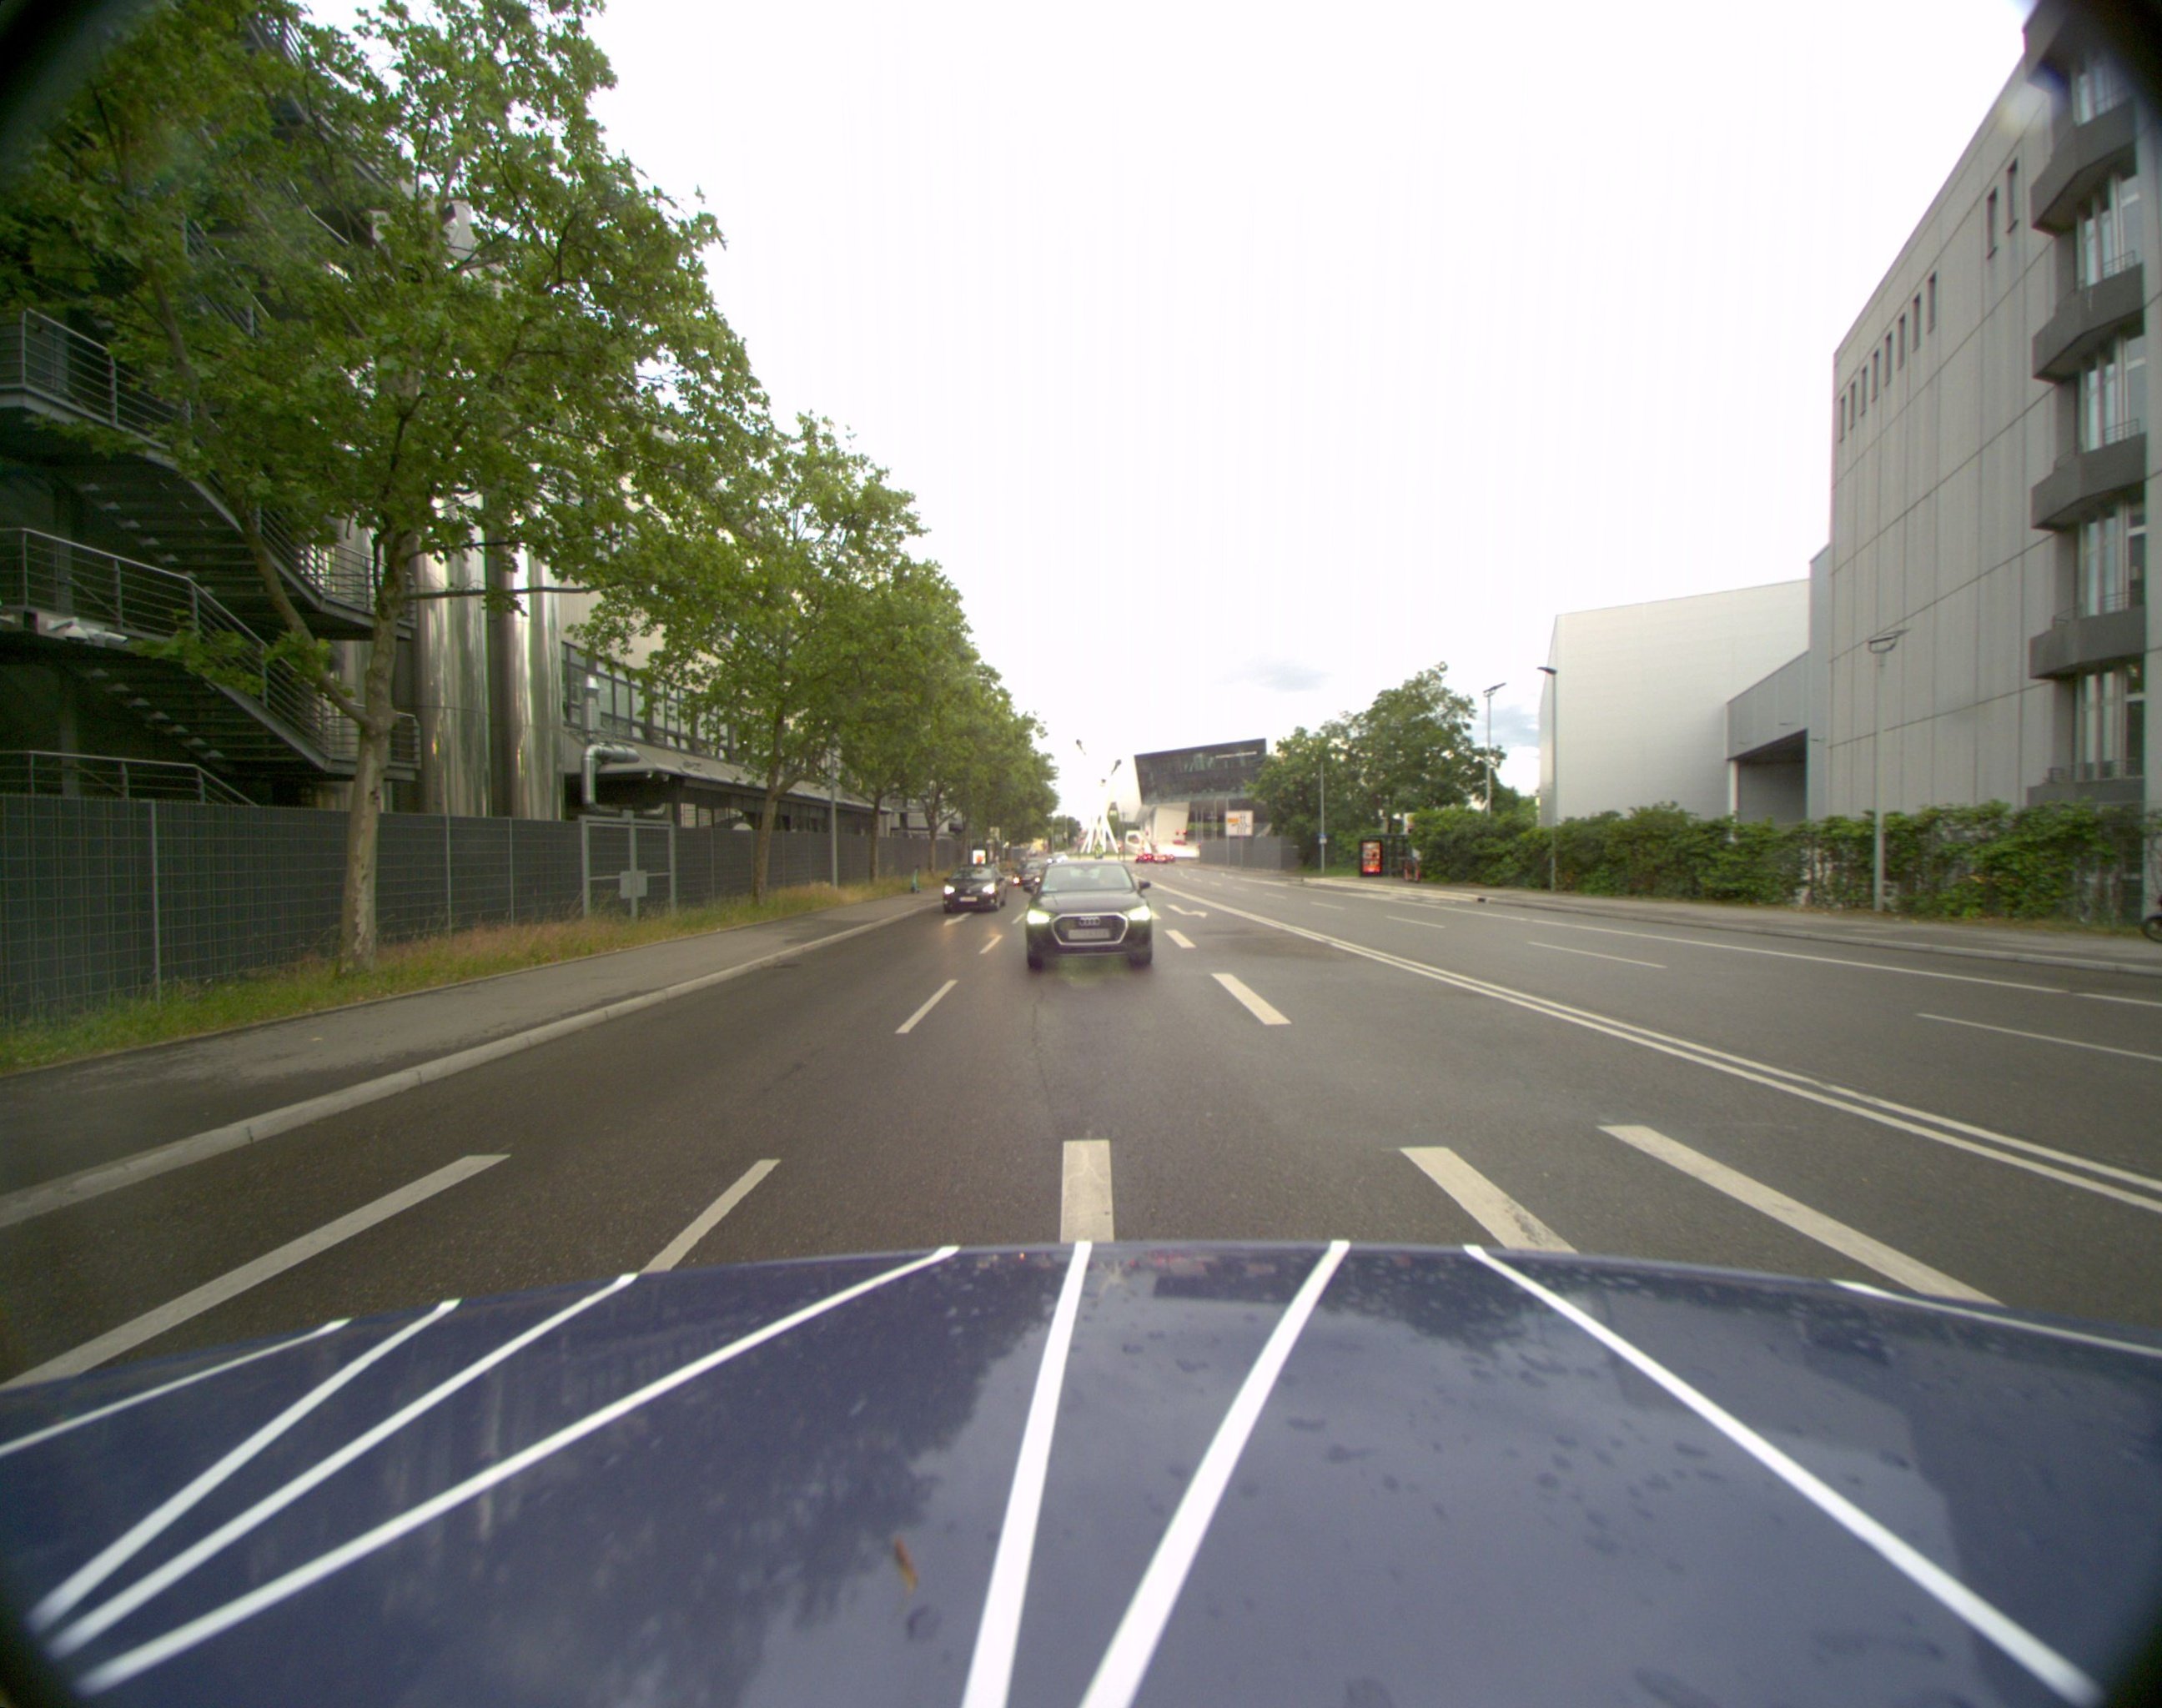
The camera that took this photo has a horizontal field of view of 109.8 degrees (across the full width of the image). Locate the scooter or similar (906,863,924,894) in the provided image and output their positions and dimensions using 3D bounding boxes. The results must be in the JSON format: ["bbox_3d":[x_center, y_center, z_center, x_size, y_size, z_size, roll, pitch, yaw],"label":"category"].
[{"bbox_3d":[-7.029,1.007,32.172,0.329,1.262,1.109,-1,1,9],"label":"scooter or similar"}]

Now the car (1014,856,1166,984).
[{"bbox_3d":[0.060,0.876,12.691,1.951,1.609,5.276,-2,0,-1],"label":"car"}]

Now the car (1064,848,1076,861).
[{"bbox_3d":[-1.716,0.055,117.051,1.951,1.879,4.490,0,0,-1],"label":"car"}]

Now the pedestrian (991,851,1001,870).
[{"bbox_3d":[-7.565,0.584,67.371,0.778,1.700,0.729,-1,1,-1],"label":"pedestrian"}]

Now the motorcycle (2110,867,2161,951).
[{"bbox_3d":[16.686,0.844,10.952,0.786,1.243,2.157,-1,0,0],"label":"motorcycle"}]

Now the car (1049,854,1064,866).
[{"bbox_3d":[-3.310,0.774,102.979,1.951,1.610,4.072,0,0,-1],"label":"car"}]

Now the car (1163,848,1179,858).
[{"bbox_3d":[15.058,-0.250,127.249,1.862,1.641,3.792,0,0,19],"label":"car"}]

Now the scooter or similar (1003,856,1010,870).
[{"bbox_3d":[-6.966,0.813,71.070,0.437,1.288,1.300,-1,1,3],"label":"scooter or similar"}]

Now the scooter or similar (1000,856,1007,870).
[{"bbox_3d":[-7.107,0.797,69.650,0.437,1.288,1.300,-1,1,3],"label":"scooter or similar"}]

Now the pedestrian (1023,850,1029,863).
[{"bbox_3d":[-6.796,0.334,93.829,0.723,1.610,0.833,1,1,-1],"label":"pedestrian"}]

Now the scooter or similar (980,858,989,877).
[{"bbox_3d":[-6.929,0.962,54.606,0.329,1.301,1.246,-1,1,5],"label":"scooter or similar"}]

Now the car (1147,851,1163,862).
[{"bbox_3d":[12.398,0.411,127.292,1.878,1.641,3.857,0,0,16],"label":"car"}]

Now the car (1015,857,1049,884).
[{"bbox_3d":[-2.948,0.973,46.357,1.842,1.444,4.785,-2,0,-1],"label":"car"}]

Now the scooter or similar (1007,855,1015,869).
[{"bbox_3d":[-6.930,0.789,75.163,0.437,1.288,1.367,-1,1,7],"label":"scooter or similar"}]

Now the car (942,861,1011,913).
[{"bbox_3d":[-3.298,0.996,24.560,1.881,1.485,4.075,0,0,-3],"label":"car"}]

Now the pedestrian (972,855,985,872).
[{"bbox_3d":[-8.569,0.817,63.510,0.932,1.408,0.698,-1,1,-1],"label":"pedestrian"}]

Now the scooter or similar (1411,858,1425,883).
[{"bbox_3d":[16.189,0.781,36.503,0.379,1.174,1.379,-1,1,14],"label":"scooter or similar"}]

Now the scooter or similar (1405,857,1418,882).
[{"bbox_3d":[16.498,0.758,37.916,0.389,1.173,1.251,-1,1,14],"label":"scooter or similar"}]

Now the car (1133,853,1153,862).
[{"bbox_3d":[9.990,0.562,122.129,2.255,1.469,3.884,-1,1,18],"label":"car"}]

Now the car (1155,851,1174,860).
[{"bbox_3d":[13.246,0.229,120.230,2.267,1.469,4.052,-1,1,18],"label":"car"}]

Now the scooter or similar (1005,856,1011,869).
[{"bbox_3d":[-7.038,0.803,73.198,0.437,1.288,1.300,-1,1,3],"label":"scooter or similar"}]
